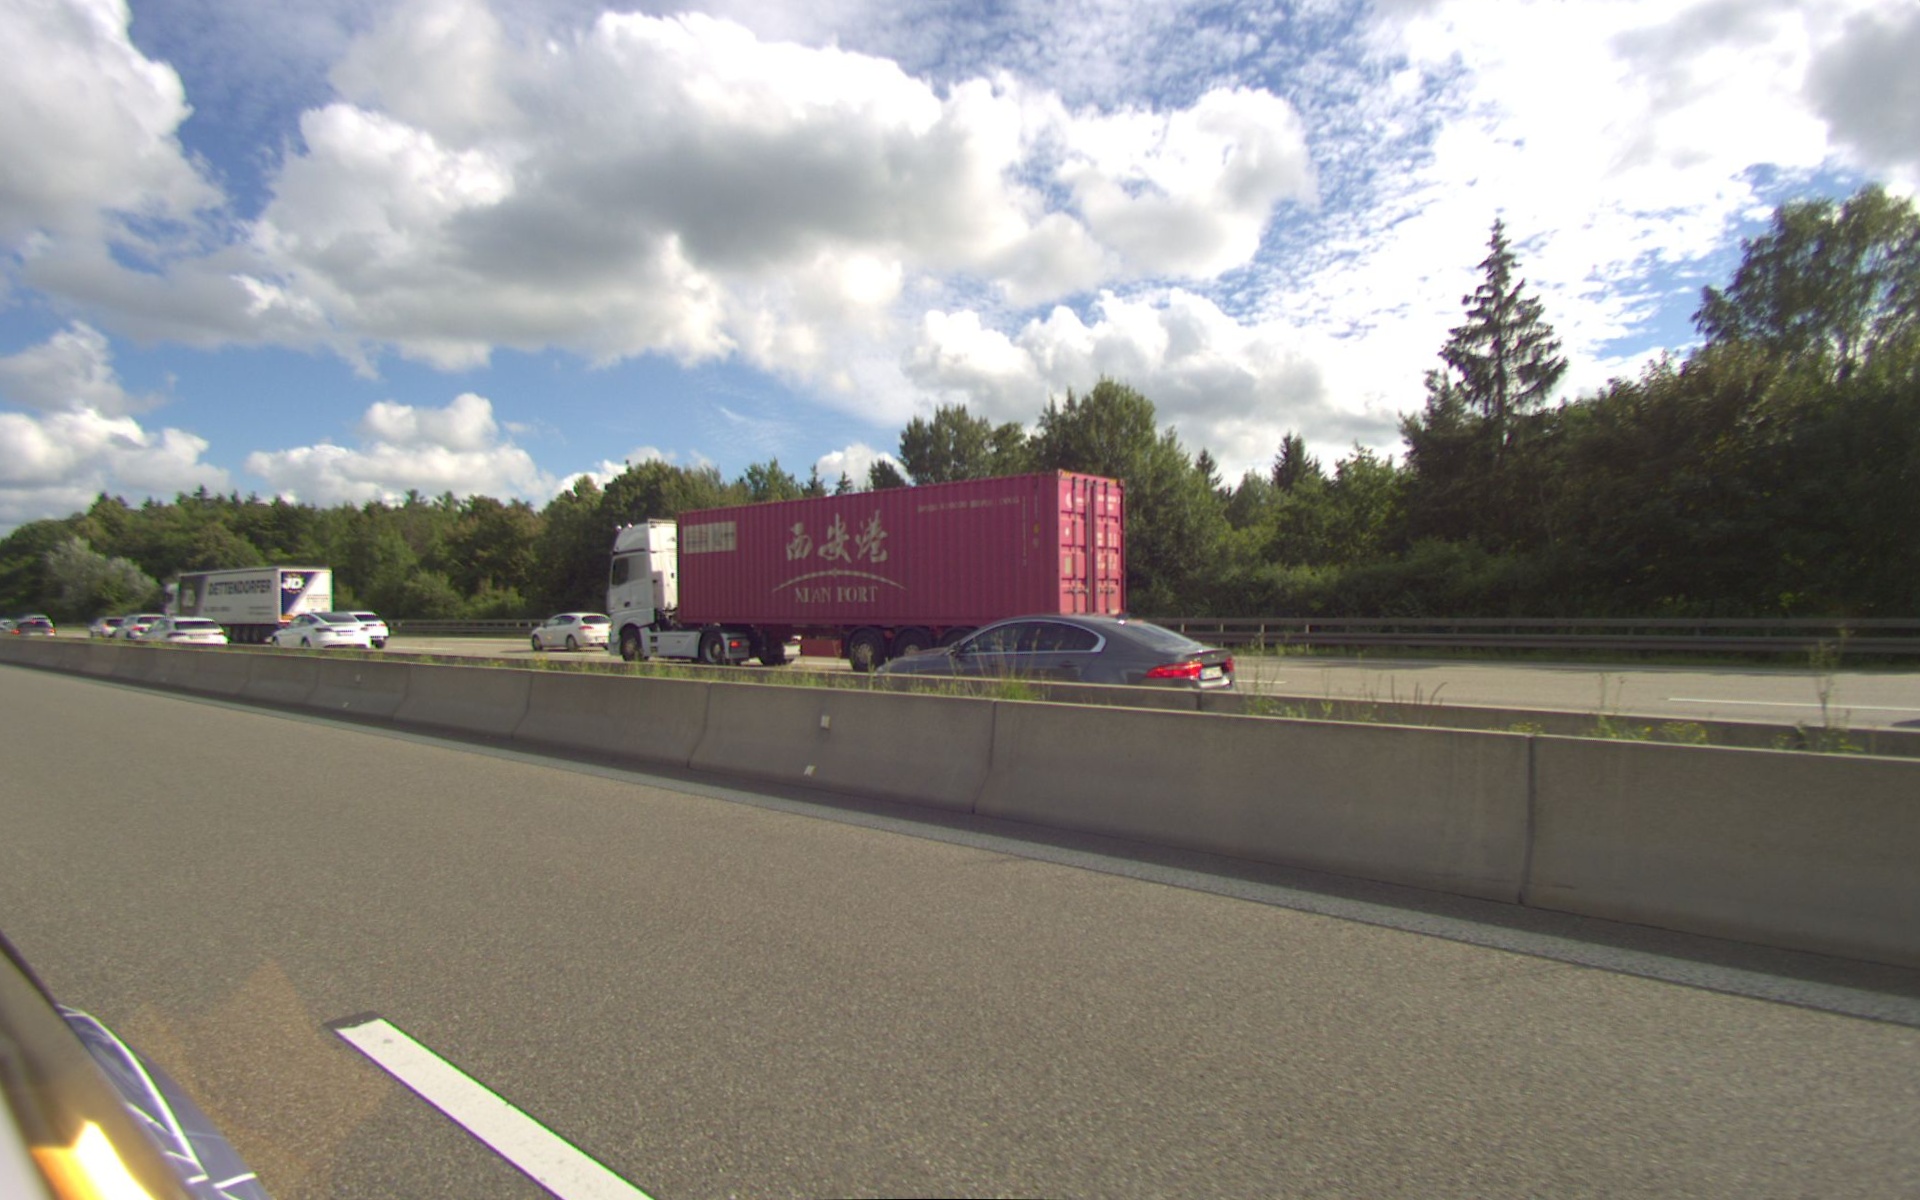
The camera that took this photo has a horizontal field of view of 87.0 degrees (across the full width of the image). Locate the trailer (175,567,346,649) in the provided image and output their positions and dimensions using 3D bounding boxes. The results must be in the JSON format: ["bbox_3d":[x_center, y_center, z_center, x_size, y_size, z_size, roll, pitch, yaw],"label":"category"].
[{"bbox_3d":[-39.671,0.514,57.029,14.122,4.138,3.289,-1,-1,35],"label":"trailer"}]

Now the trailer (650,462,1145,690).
[{"bbox_3d":[-2.266,-0.343,23.717,13.405,4.138,2.711,-1,-1,40],"label":"trailer"}]

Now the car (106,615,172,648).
[{"bbox_3d":[-42.202,1.602,51.974,4.938,1.606,1.691,-1,-1,39],"label":"car"}]

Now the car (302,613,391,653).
[{"bbox_3d":[-27.052,1.445,44.538,5.039,1.630,1.776,-1,-1,39],"label":"car"}]

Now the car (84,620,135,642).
[{"bbox_3d":[-57.839,2.099,68.787,4.796,1.464,1.793,-1,-1,40],"label":"car"}]

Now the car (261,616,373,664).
[{"bbox_3d":[-22.690,1.365,35.640,4.989,1.537,1.839,-1,0,39],"label":"car"}]

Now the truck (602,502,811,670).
[{"bbox_3d":[-7.041,-0.311,27.760,5.760,4.138,2.711,-1,-1,40],"label":"truck"}]

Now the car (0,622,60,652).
[{"bbox_3d":[-46.516,1.796,50.303,4.614,1.372,1.974,-1,0,39],"label":"car"}]

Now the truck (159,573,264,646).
[{"bbox_3d":[-44.968,0.570,60.762,6.210,4.138,3.289,-1,-1,35],"label":"truck"}]

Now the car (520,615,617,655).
[{"bbox_3d":[-15.108,1.333,38.978,4.280,1.437,1.609,-1,-1,39],"label":"car"}]

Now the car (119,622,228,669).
[{"bbox_3d":[-26.650,1.504,34.237,4.843,1.453,1.753,-1,-1,37],"label":"car"}]

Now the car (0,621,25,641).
[{"bbox_3d":[-70.075,2.257,74.276,4.712,1.407,1.664,-1,-1,41],"label":"car"}]

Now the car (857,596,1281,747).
[{"bbox_3d":[1.080,0.697,11.478,4.544,1.385,1.775,-1,-1,39],"label":"car"}]
